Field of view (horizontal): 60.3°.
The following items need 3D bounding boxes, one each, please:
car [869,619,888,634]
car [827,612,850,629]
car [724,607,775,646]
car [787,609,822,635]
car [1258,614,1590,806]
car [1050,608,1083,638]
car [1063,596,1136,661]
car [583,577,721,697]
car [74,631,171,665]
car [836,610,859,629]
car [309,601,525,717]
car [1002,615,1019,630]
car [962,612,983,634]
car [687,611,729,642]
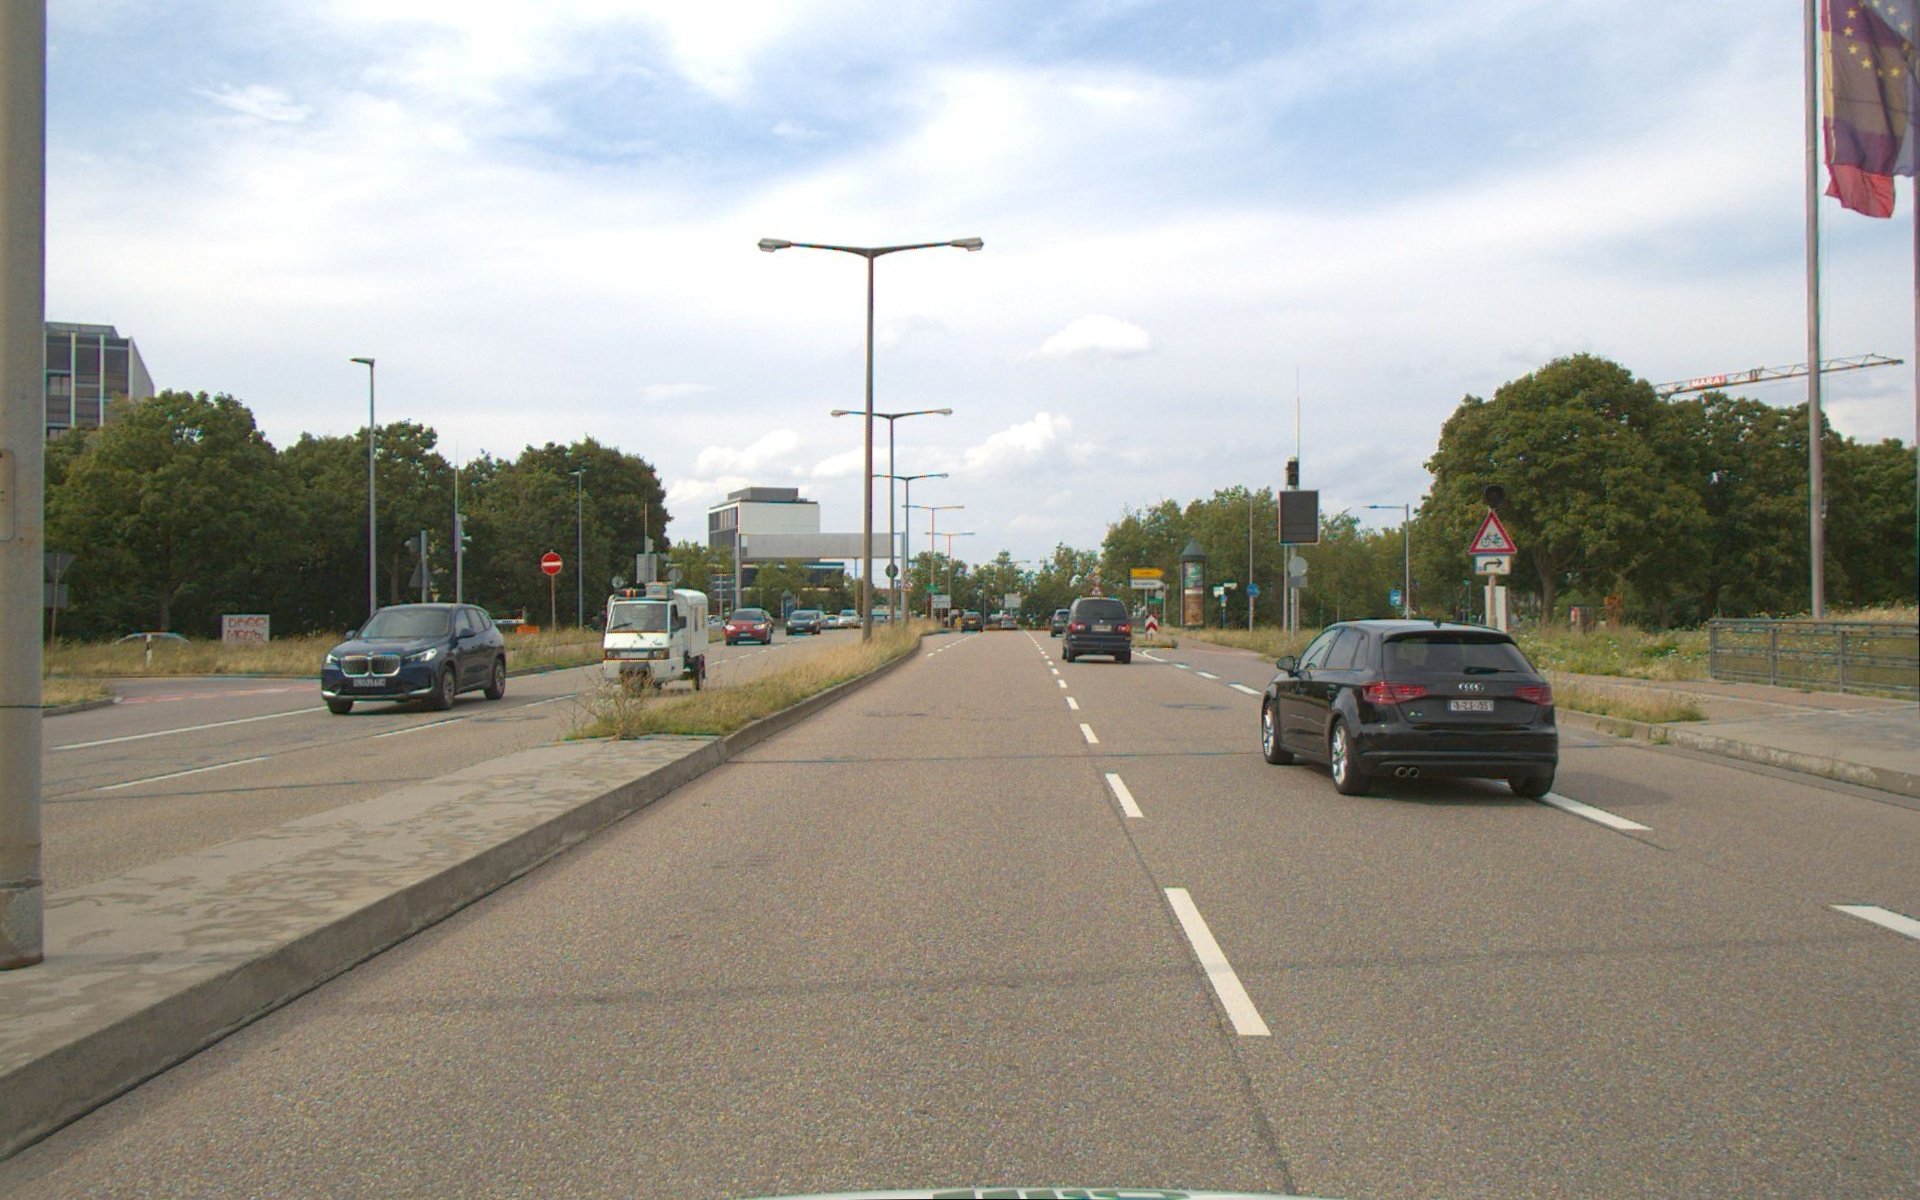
[{"bbox_3d":[-9.019,2.939,183.756,1.756,1.551,4.594,-2,-1,1],"label":"car"},{"bbox_3d":[-11.448,1.934,156.066,1.631,1.443,4.094,-1,1,2],"label":"car"},{"bbox_3d":[-9.216,1.136,72.659,1.617,1.602,4.338,-3,0,0],"label":"car"},{"bbox_3d":[-9.392,1.307,100.279,1.709,1.501,4.564,-1,0,0],"label":"car"},{"bbox_3d":[3.908,0.853,14.651,1.695,1.419,4.114,1,-1,-1],"label":"car"},{"bbox_3d":[6.260,1.354,97.579,1.695,1.682,4.115,1,-1,1],"label":"car"},{"bbox_3d":[3.781,0.767,45.476,1.695,1.682,4.115,1,-1,1],"label":"car"},{"bbox_3d":[-5.262,0.596,28.615,1.508,1.904,3.571,-2,0,3],"label":"car"},{"bbox_3d":[-37.753,2.143,74.669,3.817,1.420,1.562,-1,0,-25],"label":"car"},{"bbox_3d":[-9.831,1.714,144.905,1.710,1.626,4.564,-1,0,-1],"label":"car"},{"bbox_3d":[-8.546,0.864,26.474,1.710,1.613,4.588,-2,0,3],"label":"car"},{"bbox_3d":[5.226,2.310,172.567,1.695,1.553,4.115,1,-1,1],"label":"car"},{"bbox_3d":[1.020,1.827,132.532,1.695,1.682,4.115,1,-1,1],"label":"car"},{"bbox_3d":[-15.388,1.612,101.116,1.953,1.780,3.999,1,0,-1],"label":"car"}]
